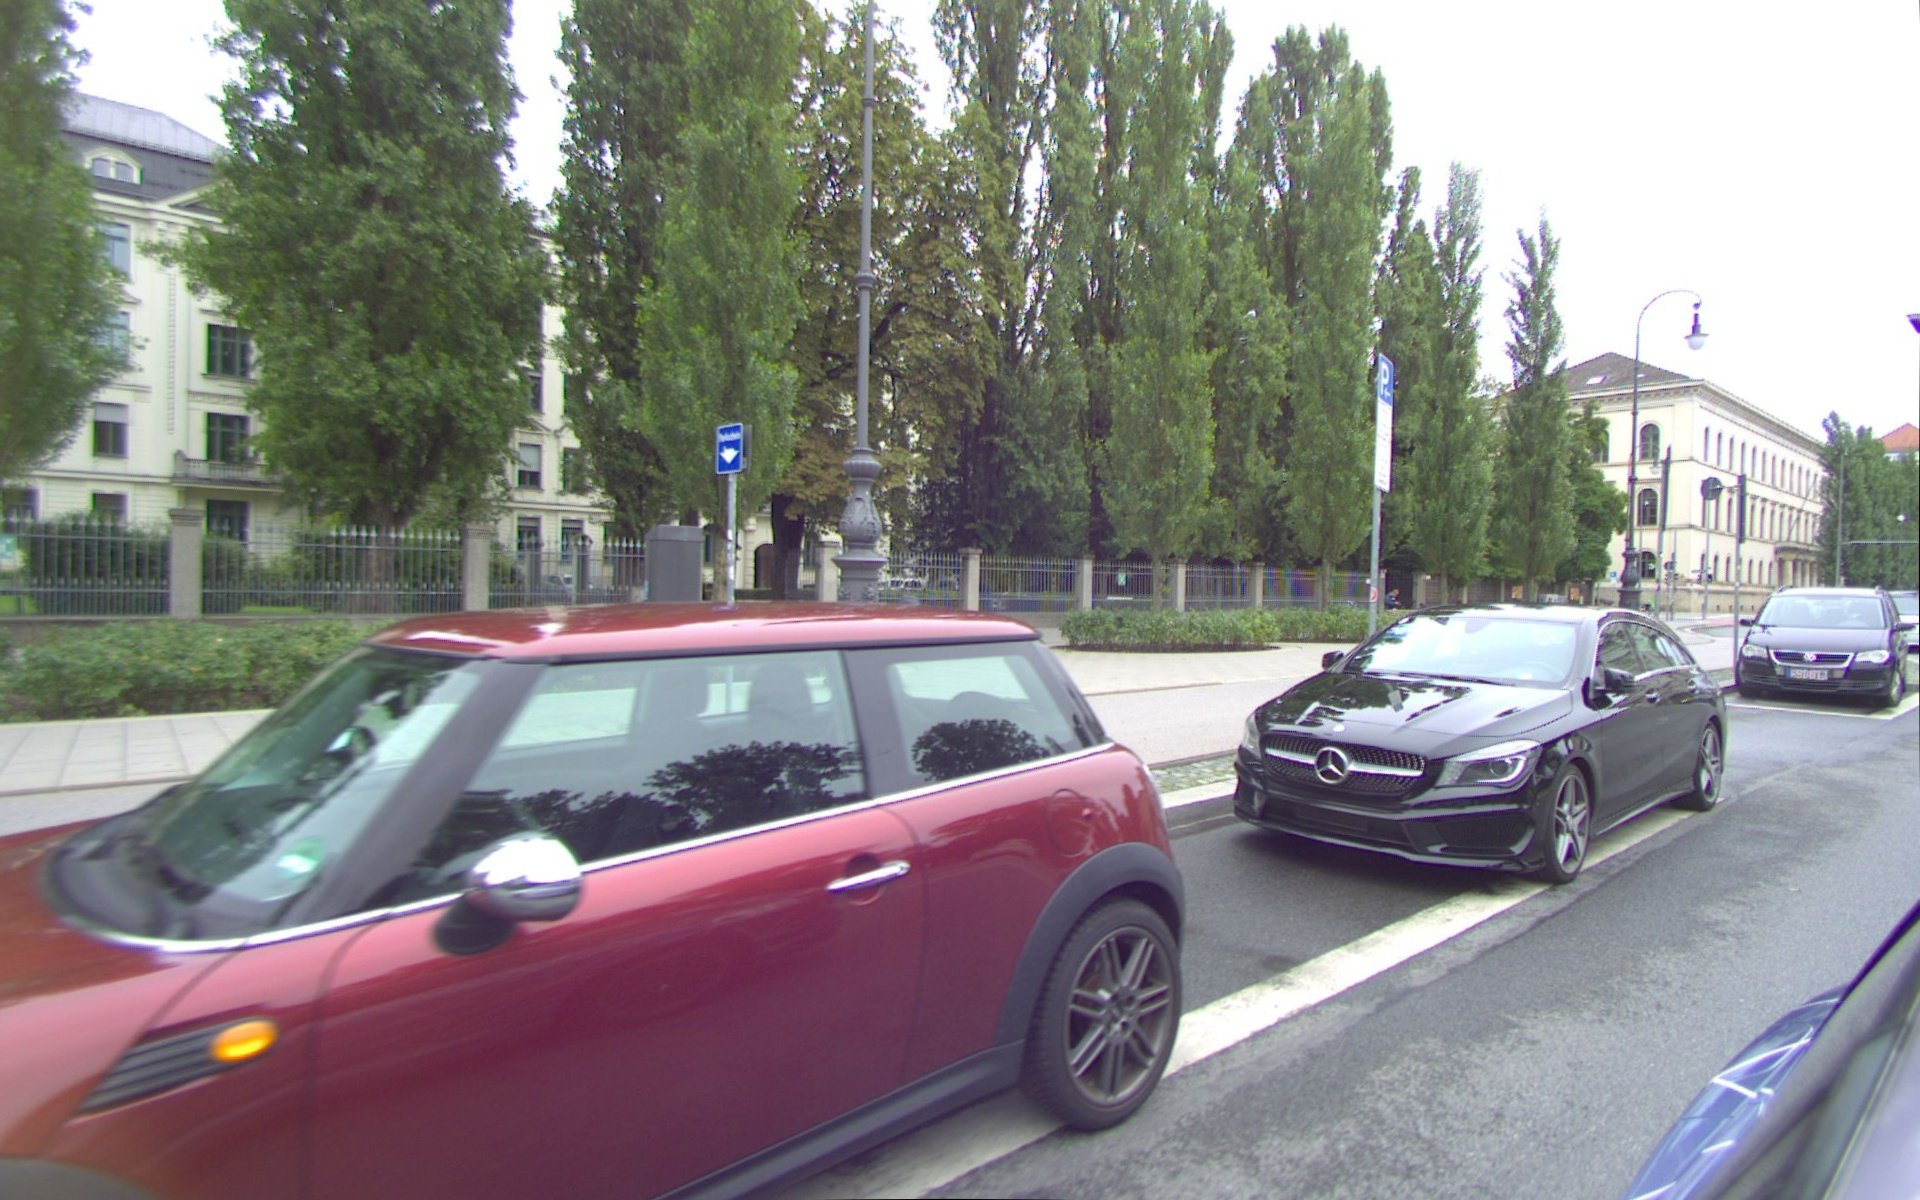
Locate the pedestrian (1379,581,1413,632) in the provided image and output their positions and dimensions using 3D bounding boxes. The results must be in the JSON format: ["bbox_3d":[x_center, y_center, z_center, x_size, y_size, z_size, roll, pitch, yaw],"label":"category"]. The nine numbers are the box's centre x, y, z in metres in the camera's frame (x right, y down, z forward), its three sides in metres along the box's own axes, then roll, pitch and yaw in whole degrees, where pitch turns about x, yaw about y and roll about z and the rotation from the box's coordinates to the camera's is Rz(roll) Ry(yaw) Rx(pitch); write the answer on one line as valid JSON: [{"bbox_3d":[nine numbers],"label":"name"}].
[{"bbox_3d":[15.700,0.230,36.473,0.869,1.793,0.811,1,1,-42],"label":"pedestrian"}]

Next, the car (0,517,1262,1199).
[{"bbox_3d":[-0.930,0.621,2.573,3.589,1.487,1.564,0,1,-41],"label":"car"}]

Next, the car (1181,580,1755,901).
[{"bbox_3d":[3.545,0.621,6.654,4.360,1.409,1.845,0,1,-41],"label":"car"}]

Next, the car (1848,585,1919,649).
[{"bbox_3d":[31.271,0.525,33.139,2.047,1.951,5.671,1,1,28],"label":"car"}]

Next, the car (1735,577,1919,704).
[{"bbox_3d":[13.259,0.518,15.312,4.296,1.627,1.843,0,1,-45],"label":"car"}]
